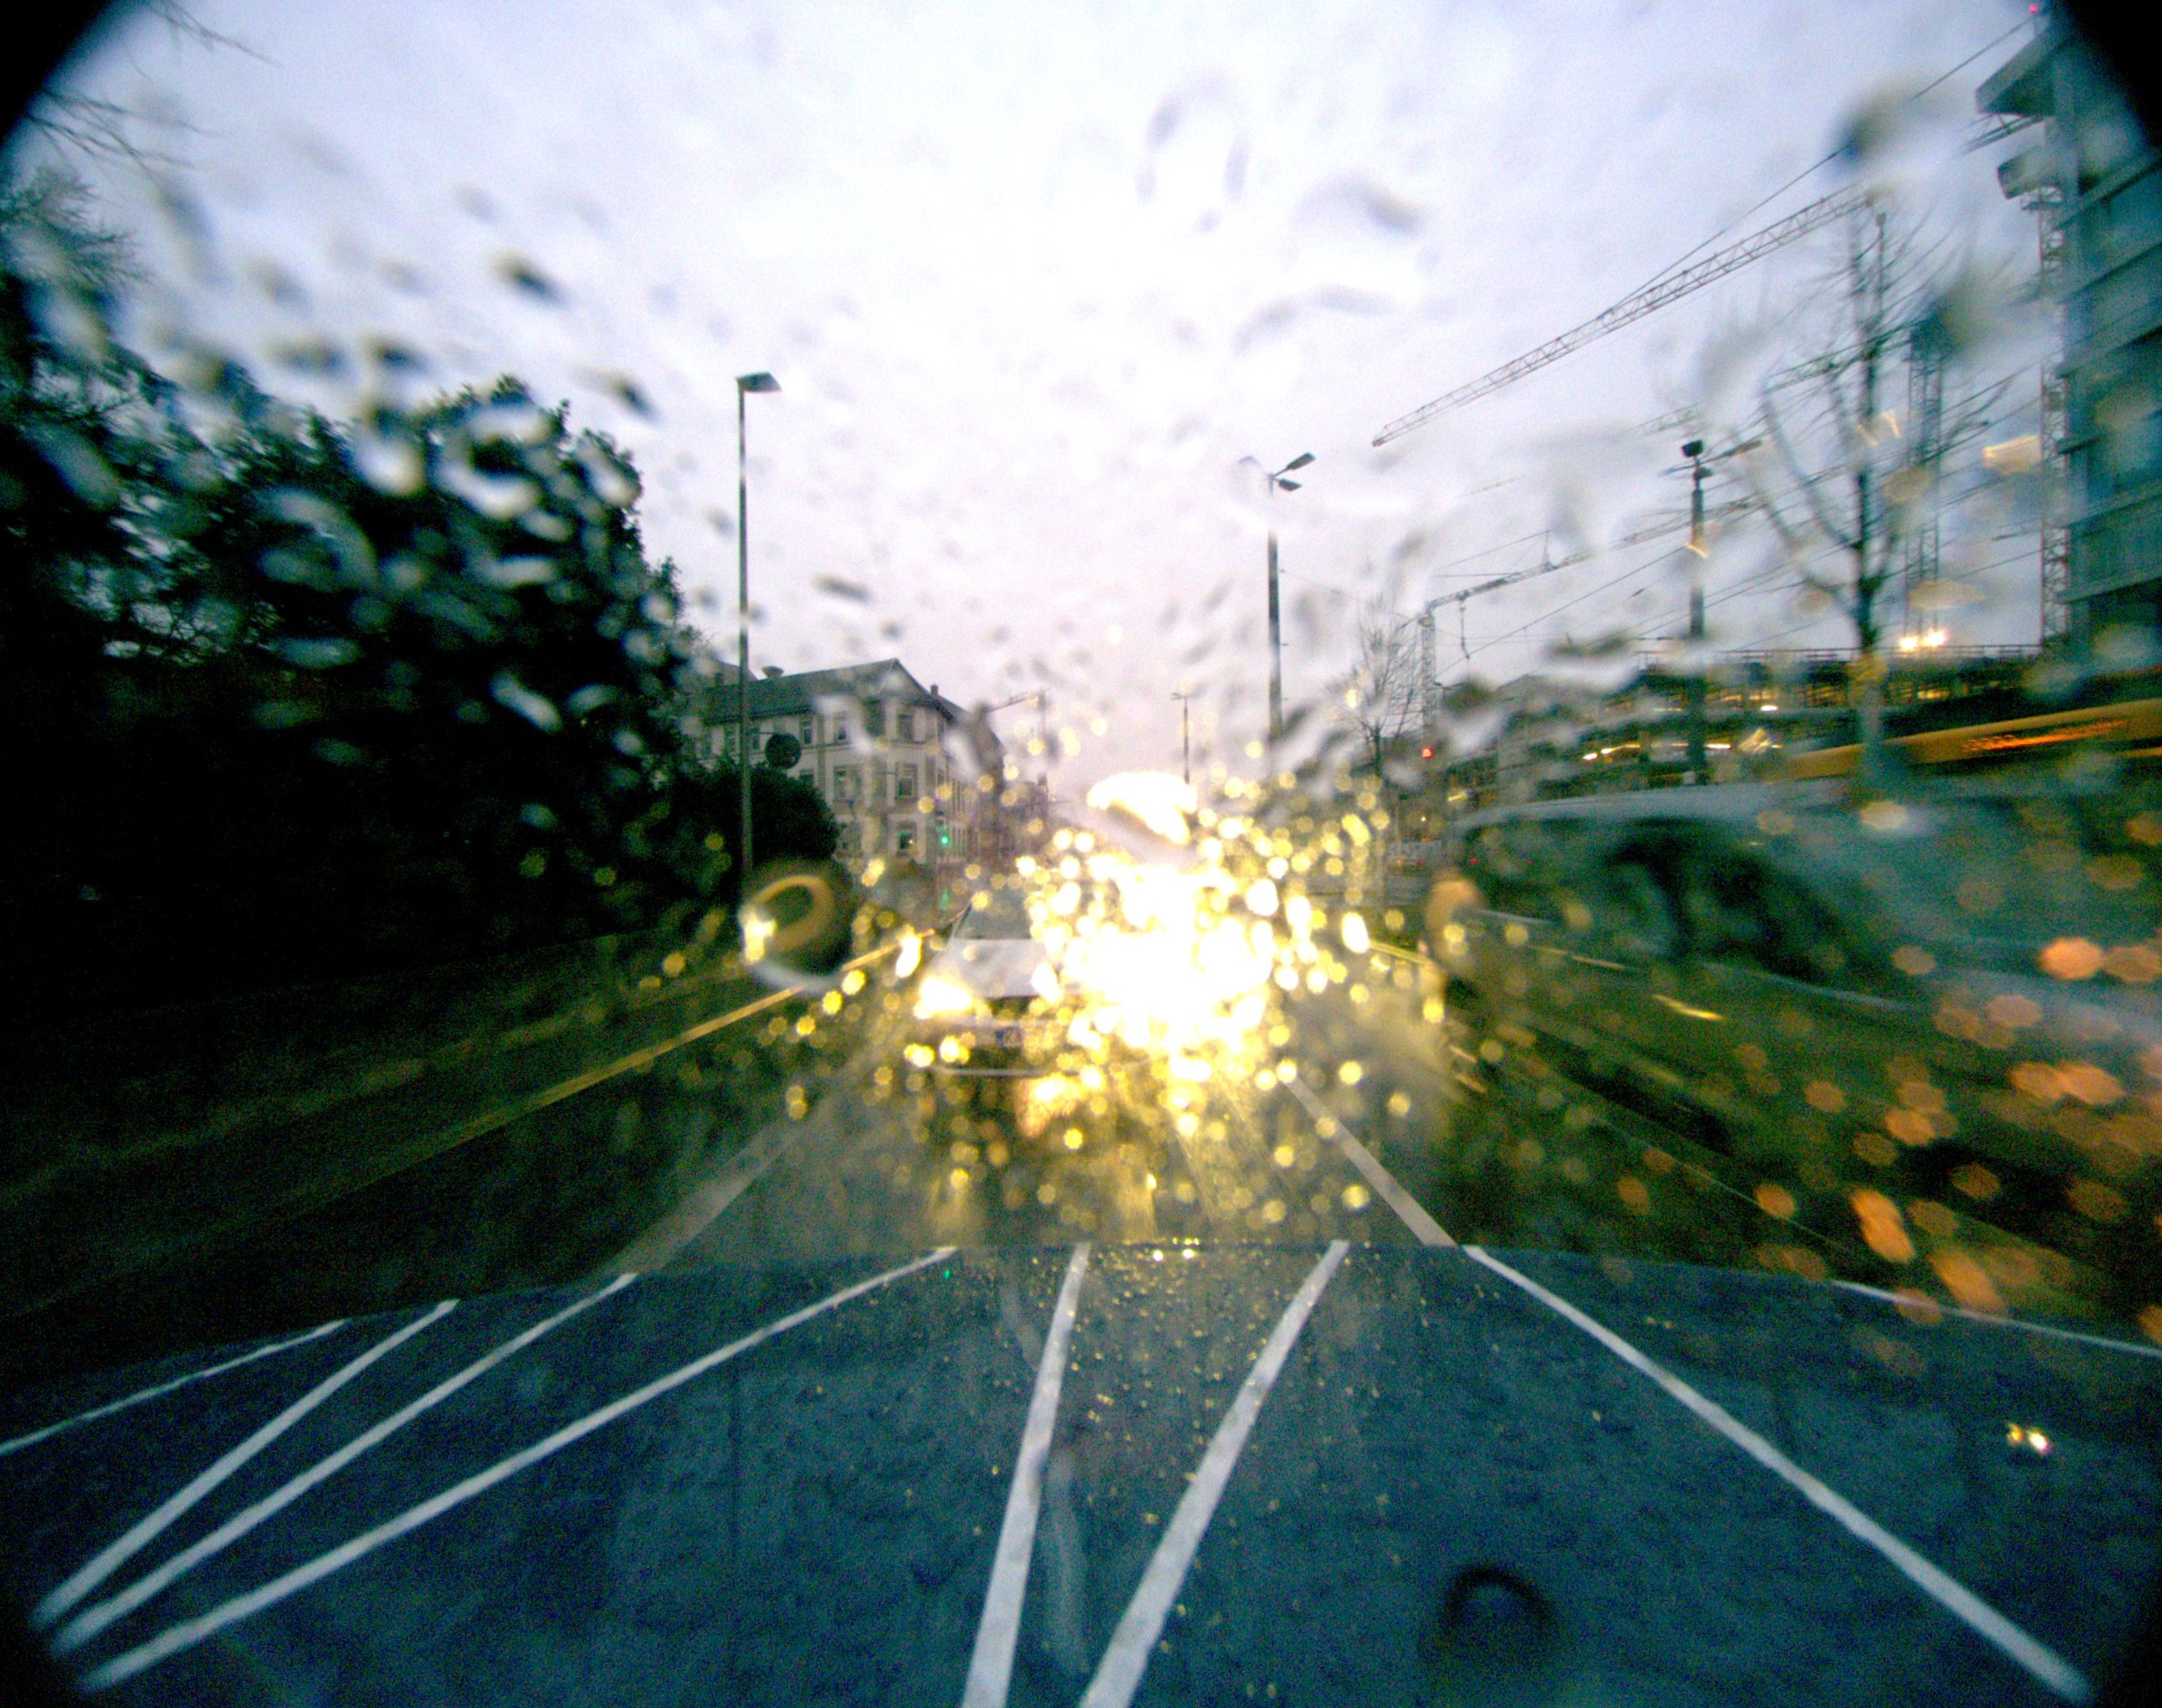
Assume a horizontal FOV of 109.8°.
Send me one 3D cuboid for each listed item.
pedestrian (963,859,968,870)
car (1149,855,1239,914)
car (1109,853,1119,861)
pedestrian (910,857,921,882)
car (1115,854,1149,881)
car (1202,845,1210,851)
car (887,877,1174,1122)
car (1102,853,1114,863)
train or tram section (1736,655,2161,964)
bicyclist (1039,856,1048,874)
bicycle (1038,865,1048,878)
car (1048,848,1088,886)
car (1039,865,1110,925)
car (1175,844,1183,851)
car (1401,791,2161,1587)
[{"bbox_3d":[-9.718,0.894,63.771,0.326,0.901,0.377,-1,1,0],"label":"pedestrian"},{"bbox_3d":[3.125,0.787,21.861,1.851,1.397,4.613,-2,1,0],"label":"car"},{"bbox_3d":[5.738,0.532,131.592,1.767,1.363,3.981,-2,1,3],"label":"car"},{"bbox_3d":[-10.013,0.922,45.896,0.522,1.501,0.586,-1,1,-26],"label":"pedestrian"},{"bbox_3d":[2.909,0.722,42.934,1.766,1.363,3.982,-2,1,4],"label":"car"},{"bbox_3d":[34.855,-1.680,212.030,1.998,1.812,4.001,-1,0,4],"label":"car"},{"bbox_3d":[-0.315,1.000,6.892,1.798,1.363,3.981,-2,1,0],"label":"car"},{"bbox_3d":[4.124,0.595,117.101,1.767,1.363,3.981,-2,1,3],"label":"car"},{"bbox_3d":[13.557,-0.509,7.045,2.964,3.466,14.319,-1,0,2],"label":"train or tram section"},{"bbox_3d":[-2.847,0.832,57.432,0.647,1.381,0.890,-1,1,0],"label":"bicyclist"},{"bbox_3d":[-2.843,1.299,57.460,0.647,0.961,2.046,-1,0,0],"label":"bicycle"},{"bbox_3d":[-0.581,0.592,36.986,1.781,1.666,3.981,-2,1,0],"label":"car"},{"bbox_3d":[-0.147,1.051,20.861,1.728,1.318,3.981,-2,1,0],"label":"car"},{"bbox_3d":[30.896,-2.106,239.331,1.998,2.002,4.000,-1,0,1],"label":"car"},{"bbox_3d":[3.173,0.683,2.945,1.798,1.726,4.536,-2,1,-2],"label":"car"}]
